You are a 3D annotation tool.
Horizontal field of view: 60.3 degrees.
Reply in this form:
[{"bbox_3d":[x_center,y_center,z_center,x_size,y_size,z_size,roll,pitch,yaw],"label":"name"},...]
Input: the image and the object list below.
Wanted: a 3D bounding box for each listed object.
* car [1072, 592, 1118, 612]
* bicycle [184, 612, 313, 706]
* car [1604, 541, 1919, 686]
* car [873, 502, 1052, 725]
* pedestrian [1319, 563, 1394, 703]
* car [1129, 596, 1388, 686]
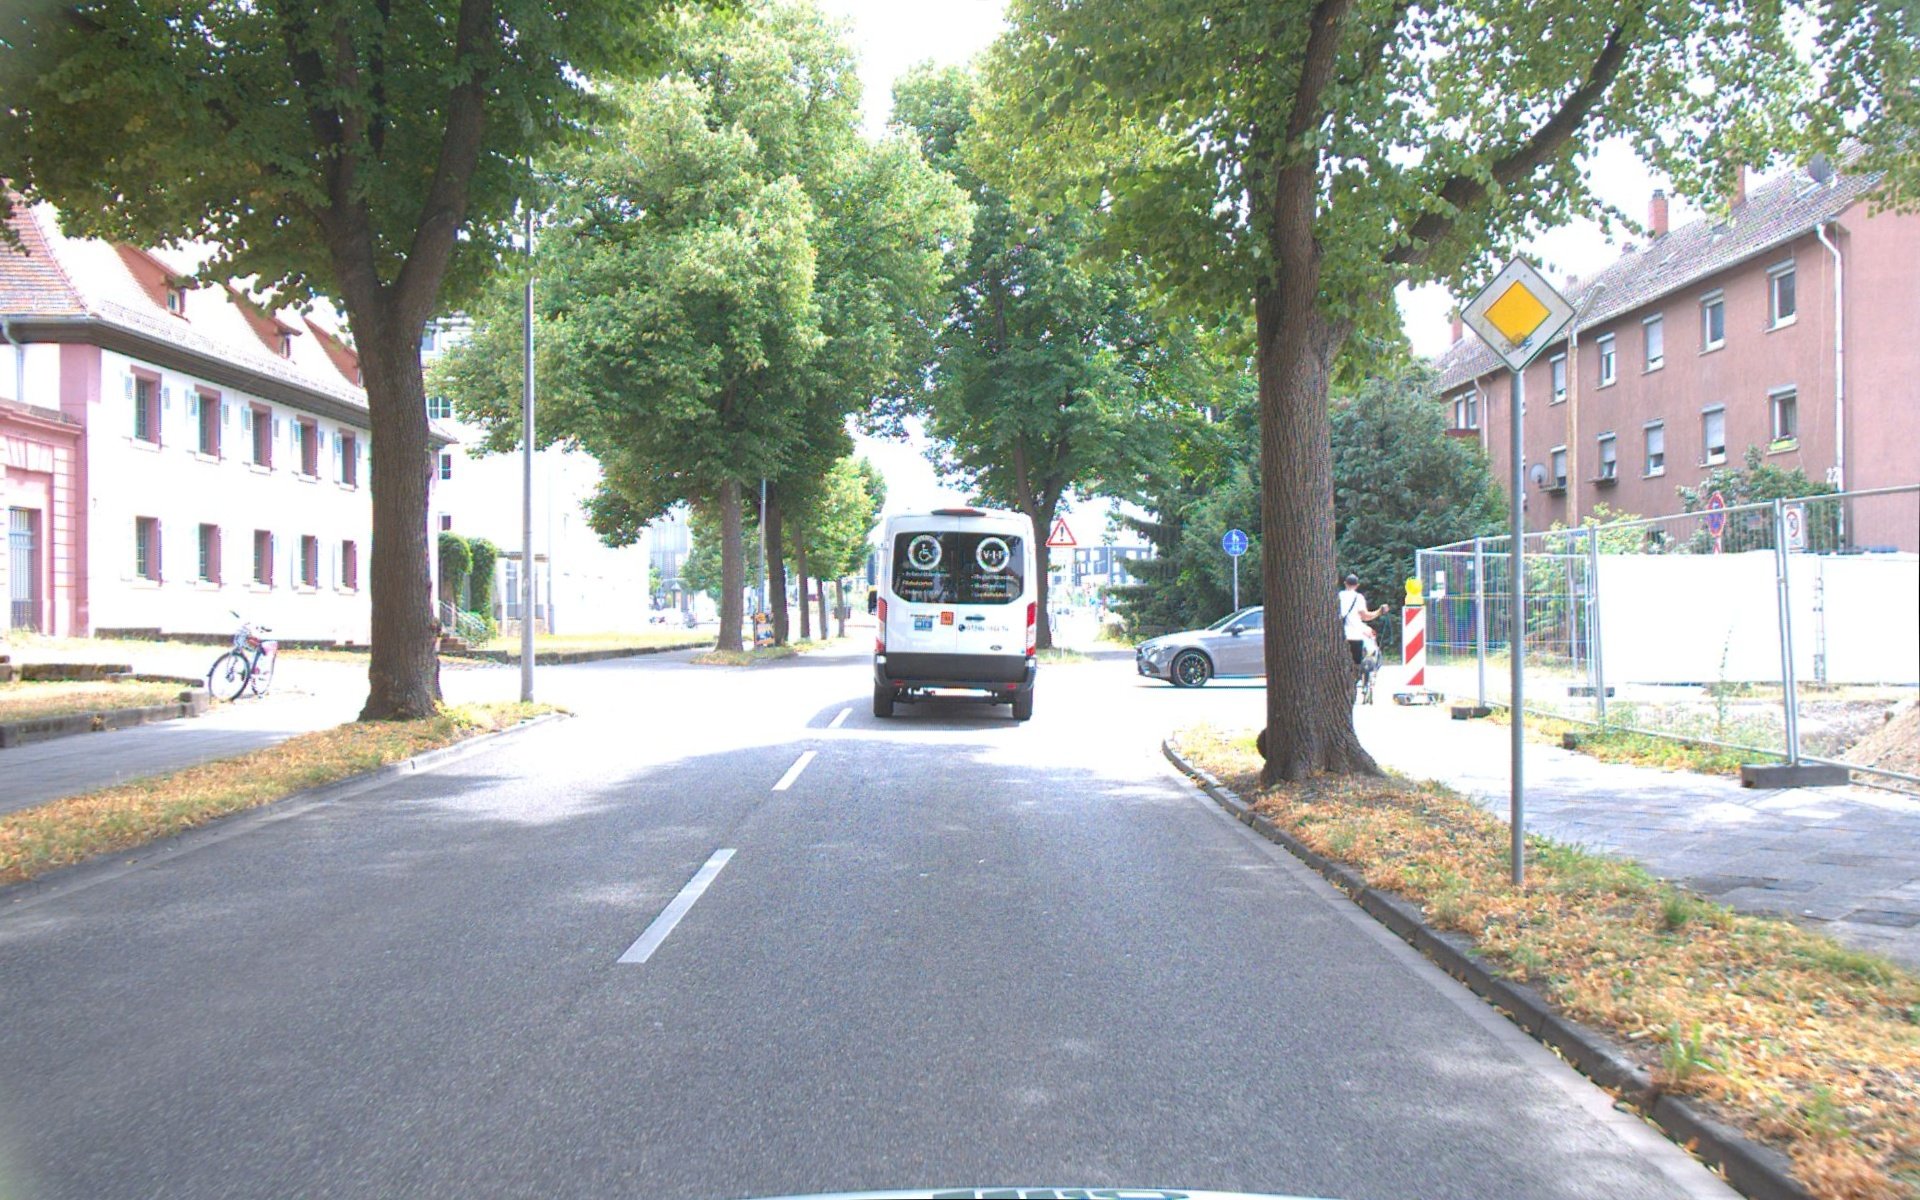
[{"bbox_3d":[13.304,0.170,162.677,4.374,1.848,1.983,-2,0,-42],"label":"car"},{"bbox_3d":[-9.352,0.750,21.848,0.708,1.114,2.225,3,0,-1],"label":"bicycle"},{"bbox_3d":[15.842,0.216,32.659,5.359,2.678,2.336,-1,2,1],"label":"car"},{"bbox_3d":[-0.077,0.108,21.312,2.022,2.584,3.998,1,1,-4],"label":"car"},{"bbox_3d":[5.416,0.440,22.564,0.864,1.846,0.889,-2,-1,18],"label":"pedestrian"},{"bbox_3d":[5.267,0.749,29.647,4.281,1.468,2.011,-1,-2,1],"label":"car"}]
